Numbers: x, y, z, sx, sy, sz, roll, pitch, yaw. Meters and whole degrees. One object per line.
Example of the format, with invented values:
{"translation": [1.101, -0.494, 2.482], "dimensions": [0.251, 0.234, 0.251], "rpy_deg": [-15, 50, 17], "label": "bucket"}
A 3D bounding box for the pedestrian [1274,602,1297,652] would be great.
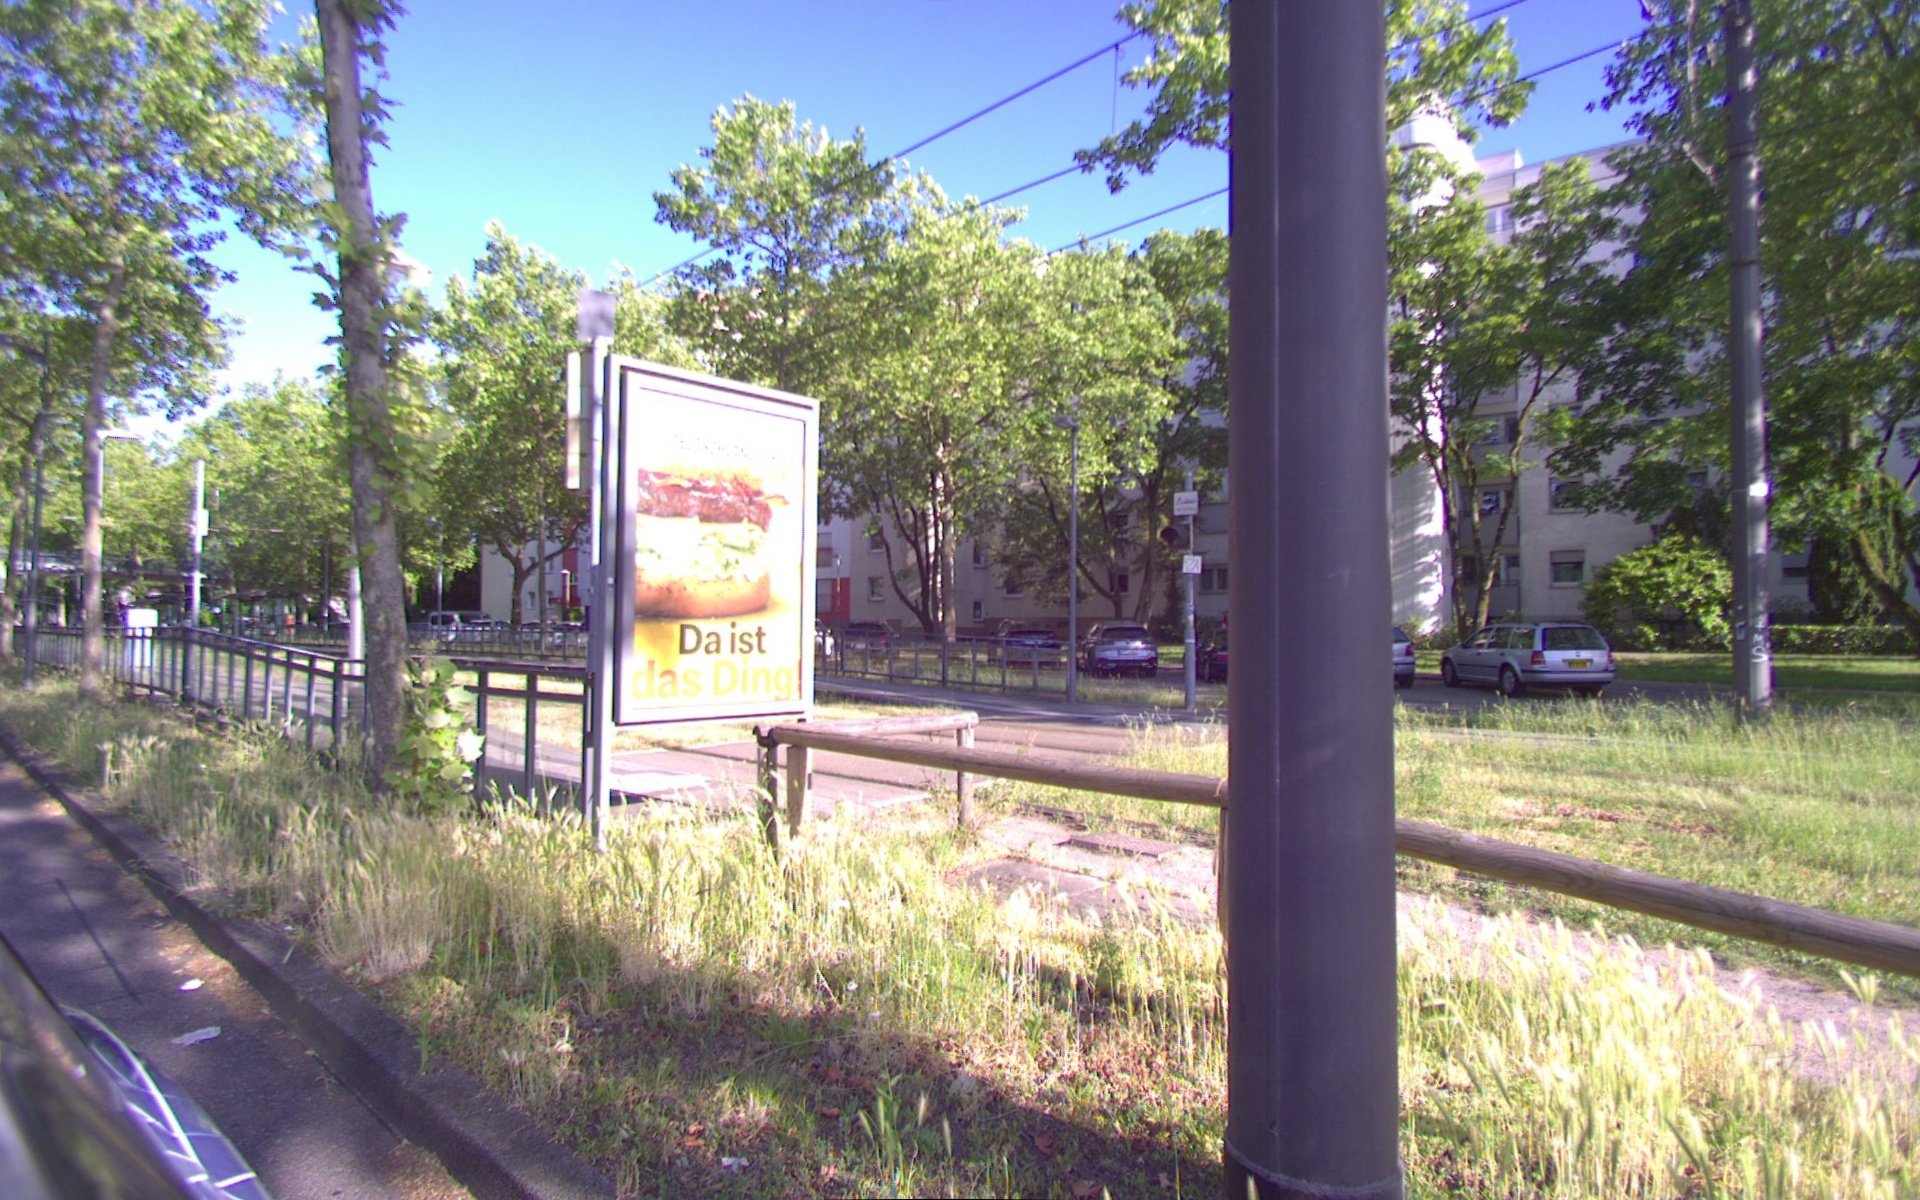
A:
{"translation": [11.778, 0.968, 36.631], "dimensions": [0.634, 1.770, 0.516], "rpy_deg": [-1, -2, 39], "label": "pedestrian"}

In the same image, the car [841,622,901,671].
{"translation": [-2.998, 1.545, 34.663], "dimensions": [1.538, 1.439, 3.761], "rpy_deg": [-1, 0, 3], "label": "car"}

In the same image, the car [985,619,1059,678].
{"translation": [1.748, 1.375, 29.770], "dimensions": [1.669, 1.499, 4.003], "rpy_deg": [-1, 0, -4], "label": "car"}

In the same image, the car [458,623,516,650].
{"translation": [-25.872, 1.993, 55.442], "dimensions": [1.605, 1.414, 3.488], "rpy_deg": [0, -1, -1], "label": "car"}

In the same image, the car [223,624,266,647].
{"translation": [-49.266, 2.417, 69.659], "dimensions": [1.785, 1.534, 4.333], "rpy_deg": [1, -2, -44], "label": "car"}

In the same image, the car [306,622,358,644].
{"translation": [-45.021, 2.373, 72.623], "dimensions": [1.578, 1.538, 3.737], "rpy_deg": [0, -1, -3], "label": "car"}

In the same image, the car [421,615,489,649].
{"translation": [-28.393, 1.768, 57.081], "dimensions": [1.843, 1.826, 4.047], "rpy_deg": [0, -1, 0], "label": "car"}

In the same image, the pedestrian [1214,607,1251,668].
{"translation": [7.946, 1.084, 29.496], "dimensions": [0.755, 1.770, 0.752], "rpy_deg": [-2, -2, 41], "label": "pedestrian"}

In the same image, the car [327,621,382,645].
{"translation": [-40.707, 2.212, 68.171], "dimensions": [1.578, 1.582, 3.830], "rpy_deg": [0, -1, -3], "label": "car"}

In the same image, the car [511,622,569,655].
{"translation": [-21.172, 1.918, 51.091], "dimensions": [1.539, 1.436, 3.489], "rpy_deg": [-3, 0, -2], "label": "car"}

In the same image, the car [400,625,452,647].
{"translation": [-33.030, 2.208, 62.652], "dimensions": [1.459, 1.311, 3.488], "rpy_deg": [0, -1, -1], "label": "car"}

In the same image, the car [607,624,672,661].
{"translation": [-14.022, 1.843, 44.479], "dimensions": [1.470, 1.425, 3.880], "rpy_deg": [-1, 0, 3], "label": "car"}

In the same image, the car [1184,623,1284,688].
{"translation": [6.757, 1.327, 25.345], "dimensions": [1.572, 1.360, 3.922], "rpy_deg": [-1, 0, 3], "label": "car"}

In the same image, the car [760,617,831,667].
{"translation": [-5.988, 1.489, 37.213], "dimensions": [1.791, 1.607, 3.997], "rpy_deg": [-1, 0, 3], "label": "car"}

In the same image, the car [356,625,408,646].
{"translation": [-37.661, 2.293, 66.047], "dimensions": [1.459, 1.330, 3.488], "rpy_deg": [0, -1, -1], "label": "car"}

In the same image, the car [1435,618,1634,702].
{"translation": [11.555, 1.146, 20.711], "dimensions": [1.685, 1.454, 3.978], "rpy_deg": [-1, 0, -2], "label": "car"}

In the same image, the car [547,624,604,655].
{"translation": [-18.753, 1.905, 49.485], "dimensions": [1.459, 1.339, 3.488], "rpy_deg": [-2, 0, -1], "label": "car"}

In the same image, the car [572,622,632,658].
{"translation": [-16.625, 1.837, 47.112], "dimensions": [1.445, 1.519, 3.393], "rpy_deg": [-1, 0, 3], "label": "car"}

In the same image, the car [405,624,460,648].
{"translation": [-30.928, 2.077, 59.413], "dimensions": [1.459, 1.354, 3.488], "rpy_deg": [0, -1, -1], "label": "car"}

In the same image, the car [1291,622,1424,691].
{"translation": [9.147, 1.262, 23.577], "dimensions": [1.553, 1.431, 3.620], "rpy_deg": [-1, -1, -1], "label": "car"}

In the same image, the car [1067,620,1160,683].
{"translation": [4.113, 1.342, 27.702], "dimensions": [1.650, 1.469, 4.004], "rpy_deg": [-1, 0, -4], "label": "car"}
